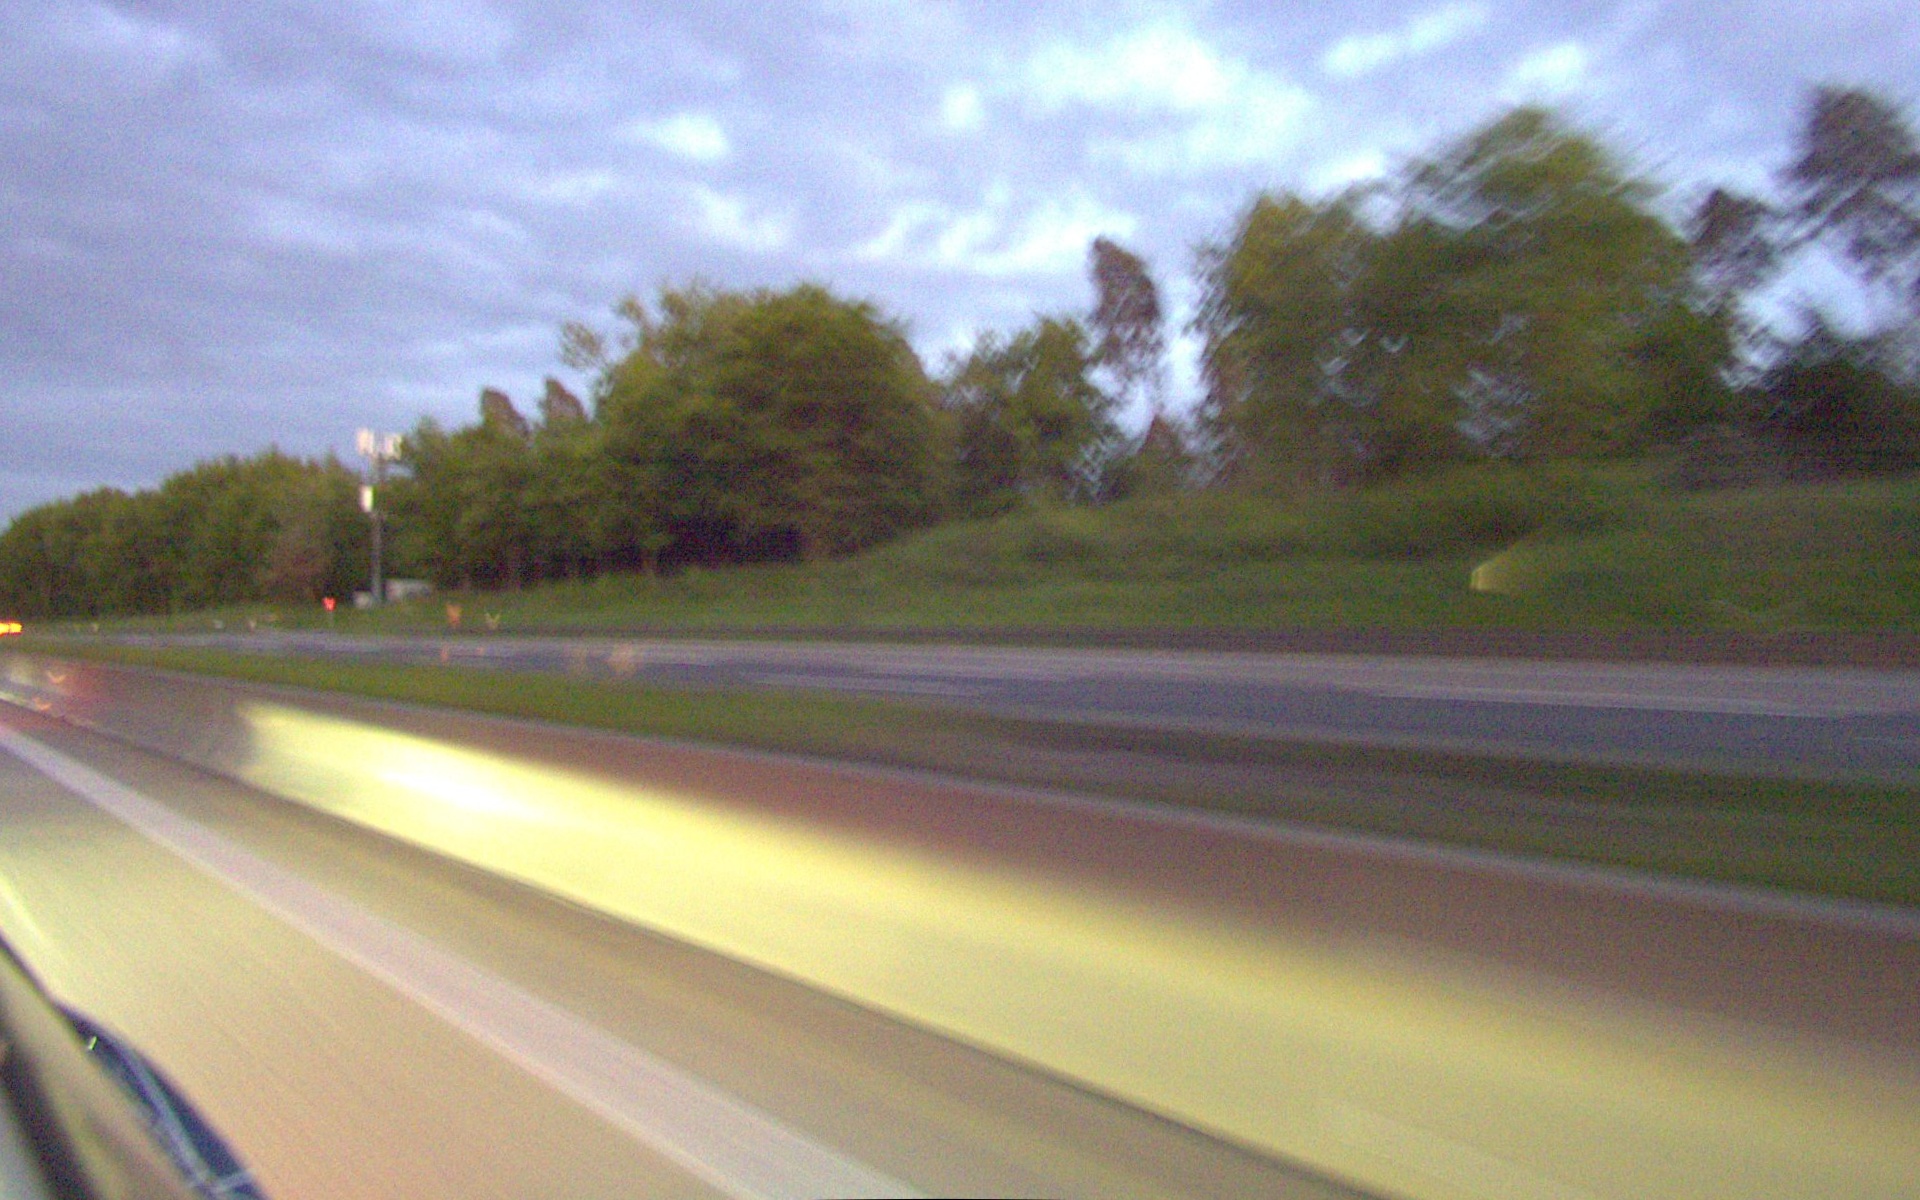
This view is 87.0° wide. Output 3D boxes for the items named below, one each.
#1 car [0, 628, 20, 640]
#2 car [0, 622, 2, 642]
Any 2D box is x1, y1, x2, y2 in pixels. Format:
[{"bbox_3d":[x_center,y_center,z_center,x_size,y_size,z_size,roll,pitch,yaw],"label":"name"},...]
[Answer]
[{"bbox_3d":[-111.310,3.955,117.932,4.900,1.391,1.798,-2,0,37],"label":"car"},{"bbox_3d":[-70.631,2.327,72.903,4.446,1.454,1.856,-2,-1,39],"label":"car"}]
